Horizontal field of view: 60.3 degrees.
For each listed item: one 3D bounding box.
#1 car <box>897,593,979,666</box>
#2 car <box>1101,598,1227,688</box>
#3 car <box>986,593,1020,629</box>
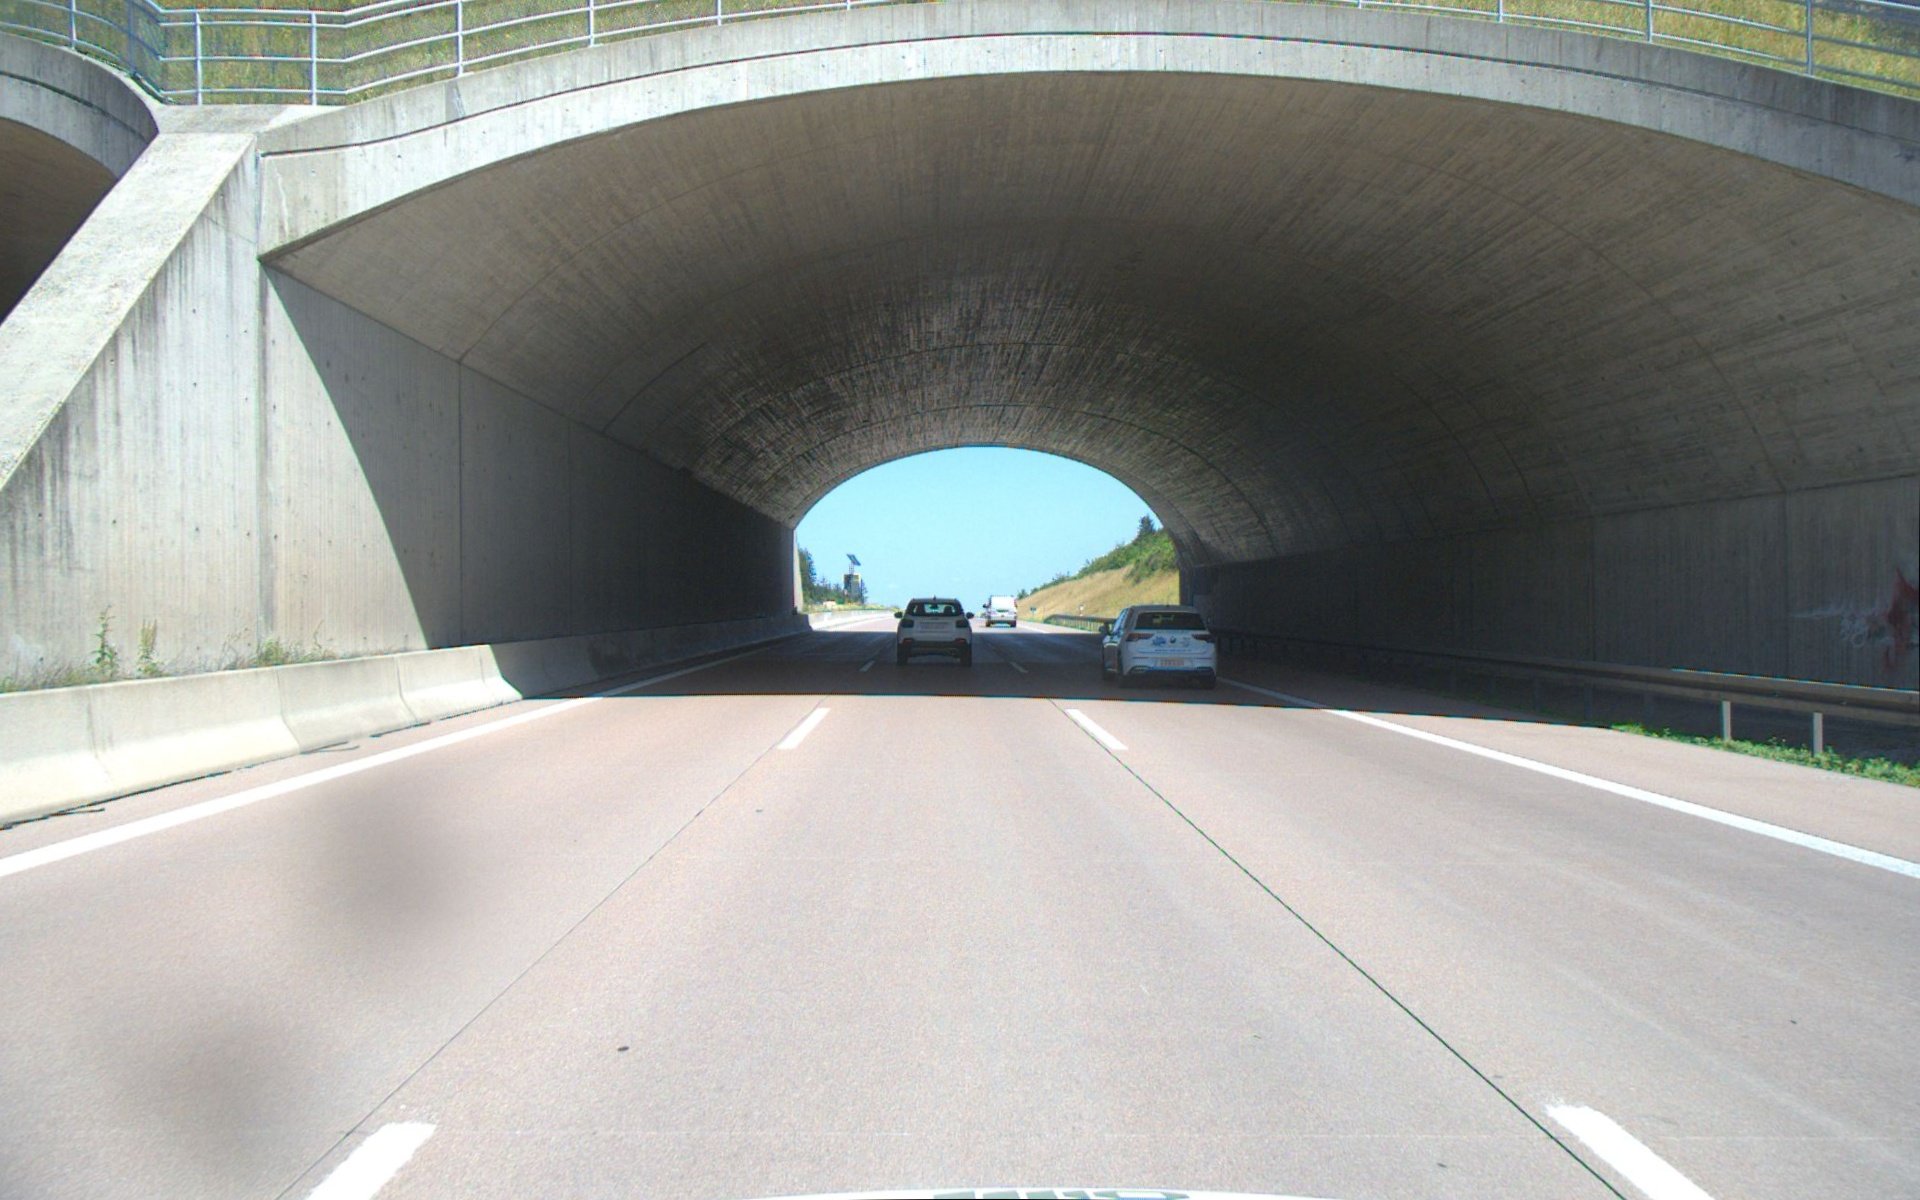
[{"bbox_3d":[-0.534,0.661,39.590,1.841,1.635,4.833,0,0,-1],"label":"car"},{"bbox_3d":[3.668,0.730,30.305,1.852,1.422,4.001,1,1,1],"label":"car"},{"bbox_3d":[2.681,0.681,103.547,2.067,2.089,4.001,1,2,1],"label":"car"}]
